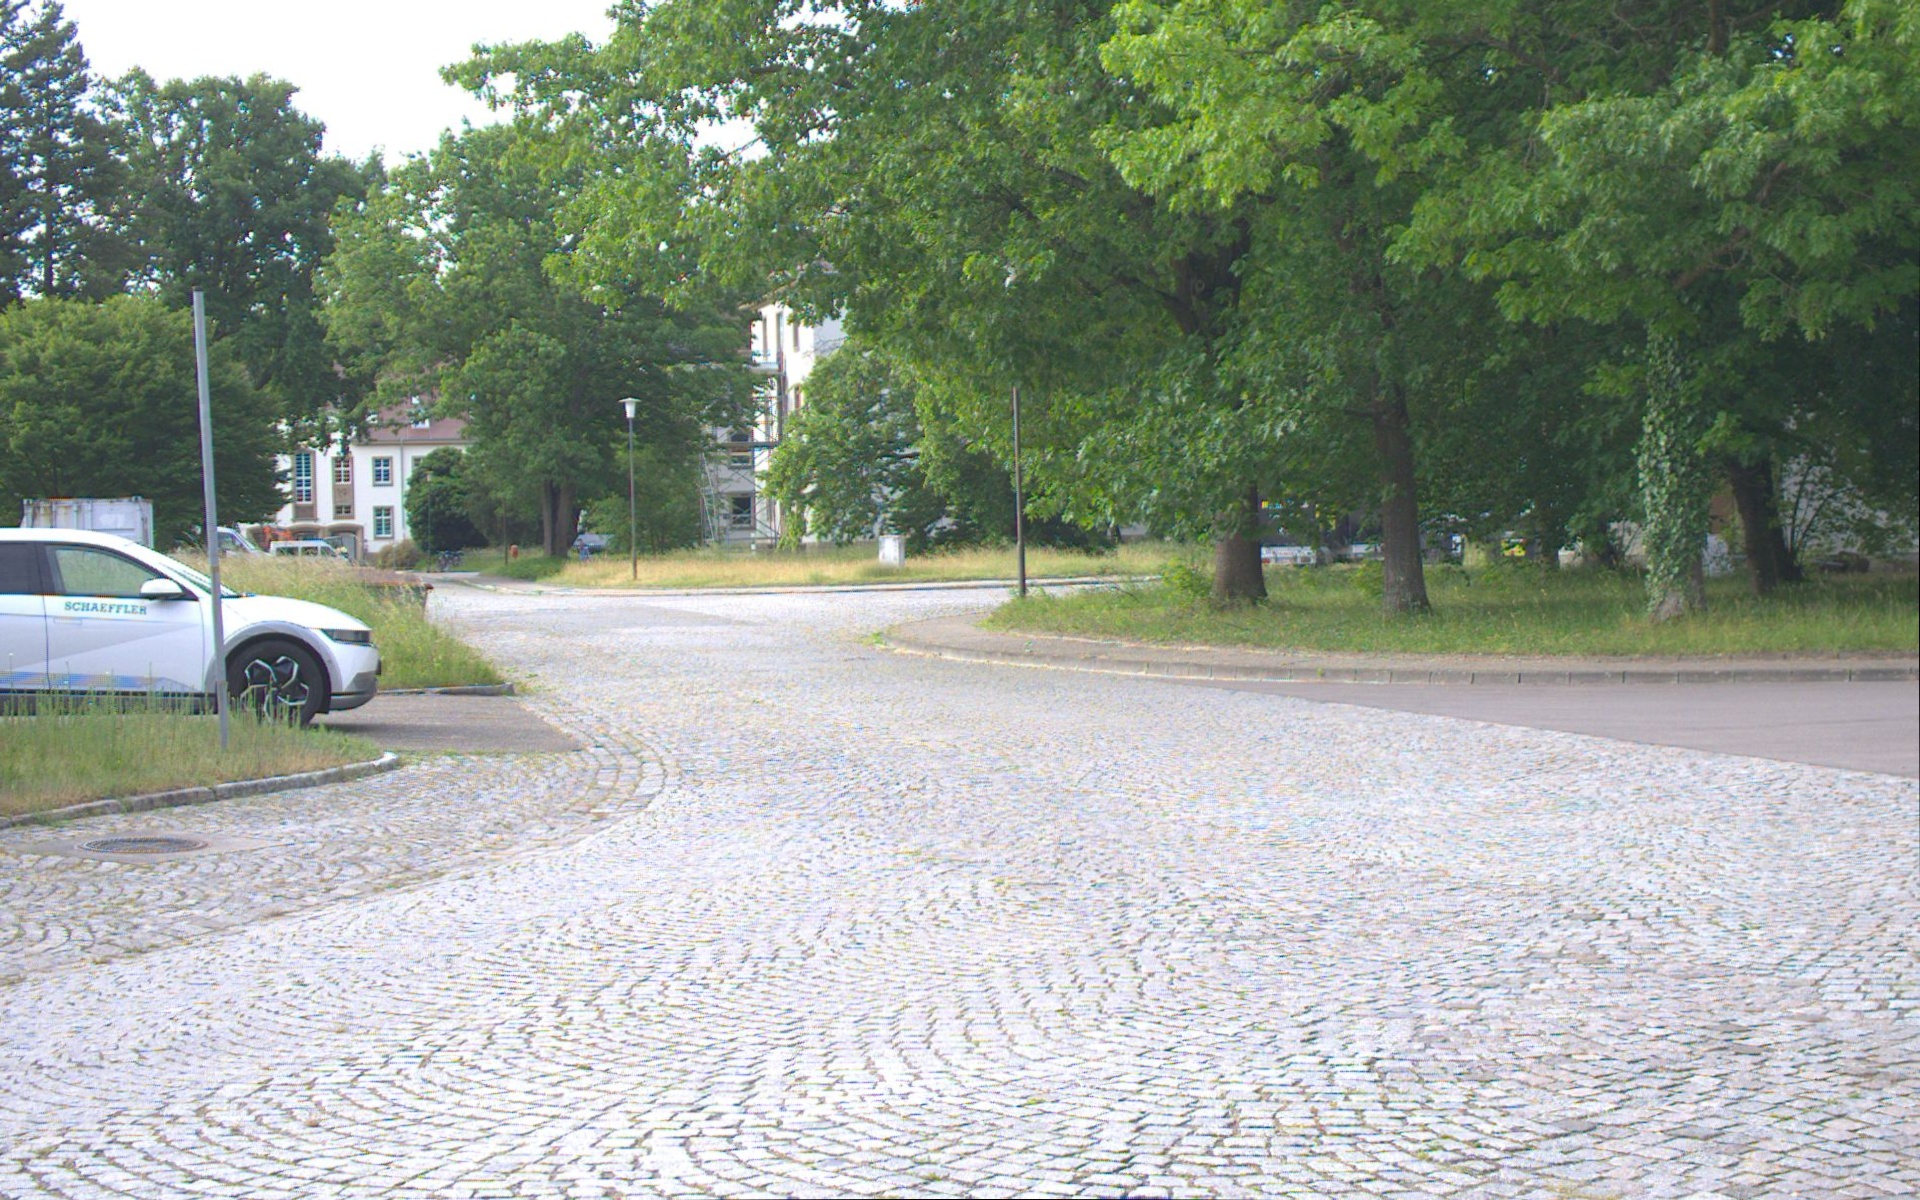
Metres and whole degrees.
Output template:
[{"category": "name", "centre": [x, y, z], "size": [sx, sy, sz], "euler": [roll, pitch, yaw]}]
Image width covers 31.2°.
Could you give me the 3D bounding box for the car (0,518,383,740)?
[{"category": "car", "centre": [-6.822, 0.221, 26.768], "size": [4.533, 1.594, 2.001], "euler": [-2, 1, -9]}]

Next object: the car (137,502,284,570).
[{"category": "car", "centre": [-27.519, -2.345, 126.237], "size": [5.169, 2.329, 2.001], "euler": [-2, 1, -12]}]

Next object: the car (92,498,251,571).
[{"category": "car", "centre": [-26.723, -2.229, 116.640], "size": [5.169, 2.329, 2.001], "euler": [-2, 1, -12]}]
